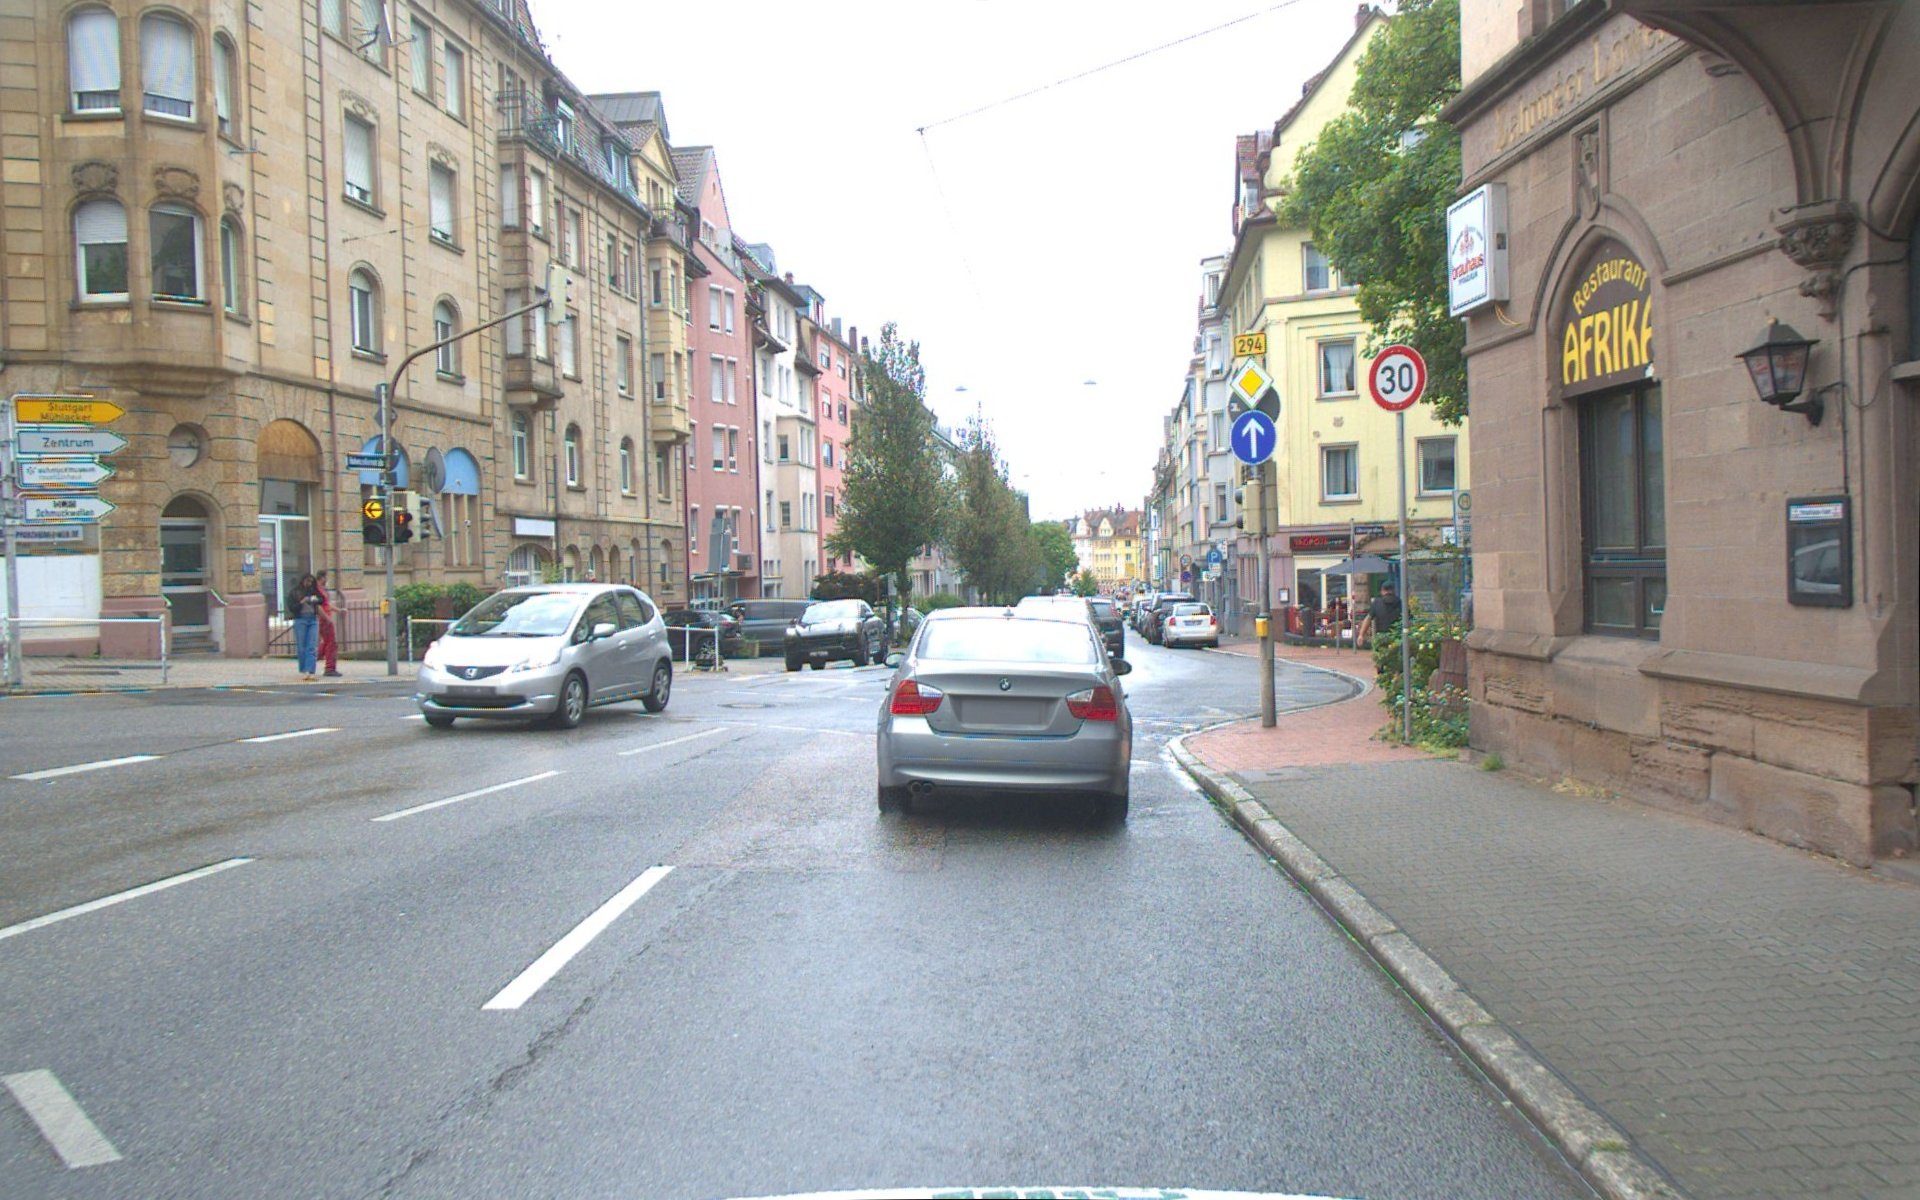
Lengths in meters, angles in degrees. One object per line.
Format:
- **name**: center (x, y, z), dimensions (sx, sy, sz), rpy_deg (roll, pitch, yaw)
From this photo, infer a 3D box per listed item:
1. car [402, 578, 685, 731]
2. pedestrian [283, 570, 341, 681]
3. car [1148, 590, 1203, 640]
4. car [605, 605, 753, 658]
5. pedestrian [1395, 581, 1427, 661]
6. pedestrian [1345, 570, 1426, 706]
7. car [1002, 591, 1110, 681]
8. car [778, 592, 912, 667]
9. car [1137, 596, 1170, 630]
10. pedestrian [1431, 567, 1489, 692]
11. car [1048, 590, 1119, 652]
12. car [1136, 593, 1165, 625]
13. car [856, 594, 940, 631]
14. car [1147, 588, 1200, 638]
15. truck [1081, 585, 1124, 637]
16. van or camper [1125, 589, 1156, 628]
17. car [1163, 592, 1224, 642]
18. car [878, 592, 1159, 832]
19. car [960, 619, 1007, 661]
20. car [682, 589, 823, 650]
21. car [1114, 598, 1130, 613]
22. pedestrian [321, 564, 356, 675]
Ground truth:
- **car**: center (-4.569, 0.537, 18.737), dimensions (1.590, 1.545, 3.874), rpy_deg (0, 0, 11)
- **pedestrian**: center (-10.341, 0.400, 26.389), dimensions (0.815, 1.732, 0.634), rpy_deg (1, 0, -24)
- **car**: center (7.944, 0.553, 61.228), dimensions (1.839, 1.762, 4.679), rpy_deg (0, -1, 5)
- **car**: center (-8.526, 0.946, 50.346), dimensions (4.059, 1.537, 1.874), rpy_deg (-1, 0, 5)
- **pedestrian**: center (10.261, 0.468, 37.614), dimensions (0.548, 1.806, 0.544), rpy_deg (0, 0, 34)
- **pedestrian**: center (5.498, 0.475, 21.352), dimensions (0.812, 1.708, 0.892), rpy_deg (0, 0, 29)
- **car**: center (1.714, 0.602, 28.466), dimensions (1.646, 1.453, 3.743), rpy_deg (0, -1, 6)
- **car**: center (-2.756, 0.753, 40.875), dimensions (1.923, 1.723, 4.811), rpy_deg (-1, -2, 14)
- **car**: center (12.335, 0.829, 105.736), dimensions (1.940, 2.042, 4.627), rpy_deg (-3, -1, 5)
- **pedestrian**: center (7.193, 0.417, 23.787), dimensions (0.562, 1.764, 0.728), rpy_deg (0, 0, 38)
- **car**: center (3.147, 0.549, 42.712), dimensions (1.662, 1.509, 3.794), rpy_deg (0, -1, 2)
- **car**: center (13.816, 0.669, 120.196), dimensions (1.940, 2.204, 4.752), rpy_deg (-3, -1, 5)
- **car**: center (-3.725, 0.774, 99.823), dimensions (4.727, 2.008, 2.049), rpy_deg (-2, -1, 5)
- **car**: center (8.649, 0.532, 67.346), dimensions (1.879, 1.859, 5.012), rpy_deg (-3, -1, 5)
- **truck**: center (6.907, 0.549, 80.283), dimensions (1.989, 2.455, 4.829), rpy_deg (0, -1, 5)
- **van or camper**: center (14.259, 0.650, 130.455), dimensions (1.990, 2.919, 6.890), rpy_deg (1, 0, 9)
- **car**: center (7.841, 0.569, 55.782), dimensions (1.761, 1.592, 4.495), rpy_deg (0, -1, 4)
- **car**: center (0.327, 0.684, 12.109), dimensions (1.733, 1.453, 3.740), rpy_deg (0, 1, -1)
- **car**: center (1.067, 1.737, 72.895), dimensions (1.587, 1.678, 4.422), rpy_deg (-4, -1, 5)
- **car**: center (-6.927, 0.651, 55.535), dimensions (4.582, 1.972, 1.862), rpy_deg (1, 0, -4)
- **car**: center (19.247, 0.660, 197.016), dimensions (1.839, 1.762, 4.443), rpy_deg (0, 0, 5)
- **pedestrian**: center (-10.249, 0.315, 27.281), dimensions (0.515, 1.805, 0.689), rpy_deg (1, 0, -21)
